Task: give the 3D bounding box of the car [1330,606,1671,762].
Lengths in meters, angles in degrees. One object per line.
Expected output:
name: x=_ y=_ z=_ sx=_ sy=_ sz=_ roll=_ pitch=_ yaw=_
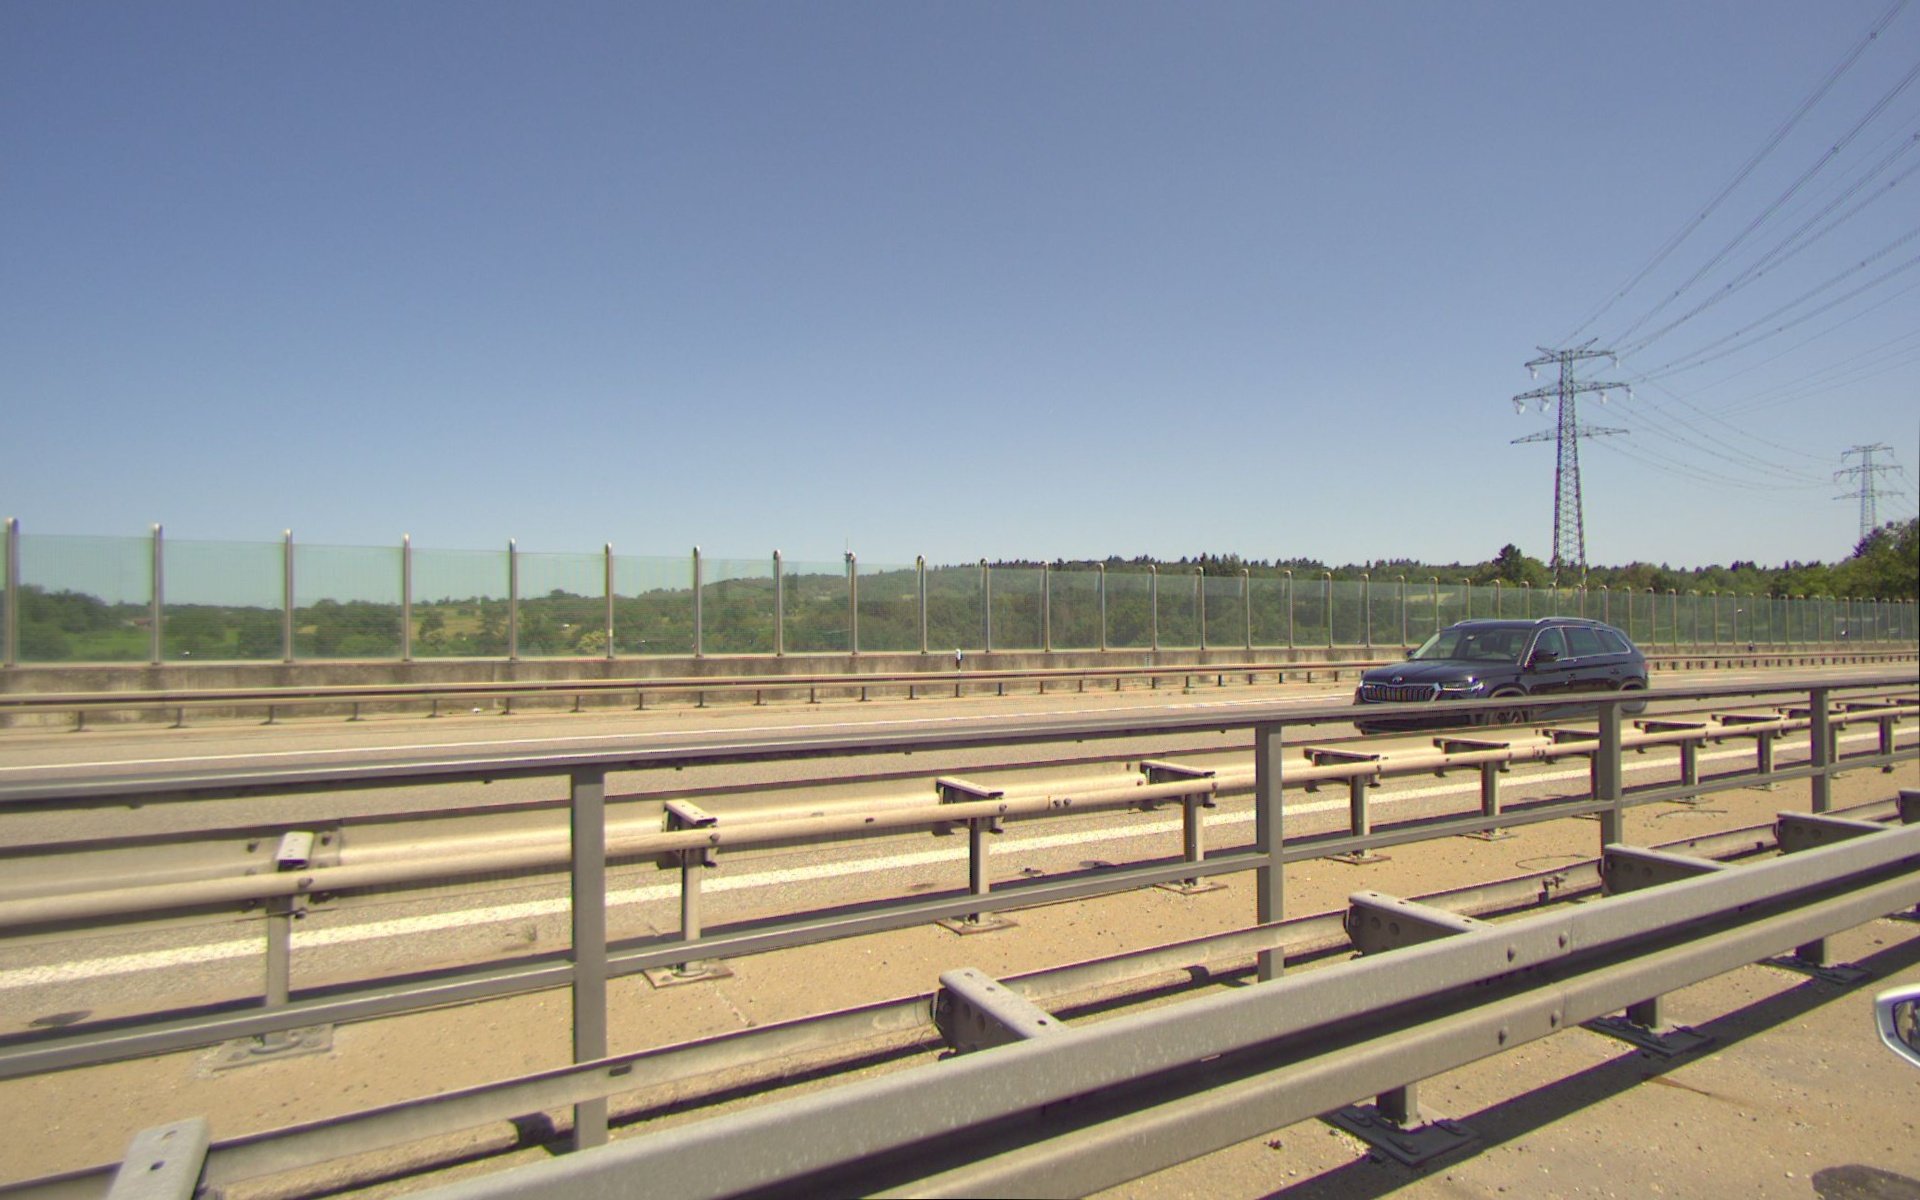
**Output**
car: x=7.052 y=1.020 z=13.021 sx=4.379 sy=1.722 sz=1.859 roll=1 pitch=-4 yaw=-31
